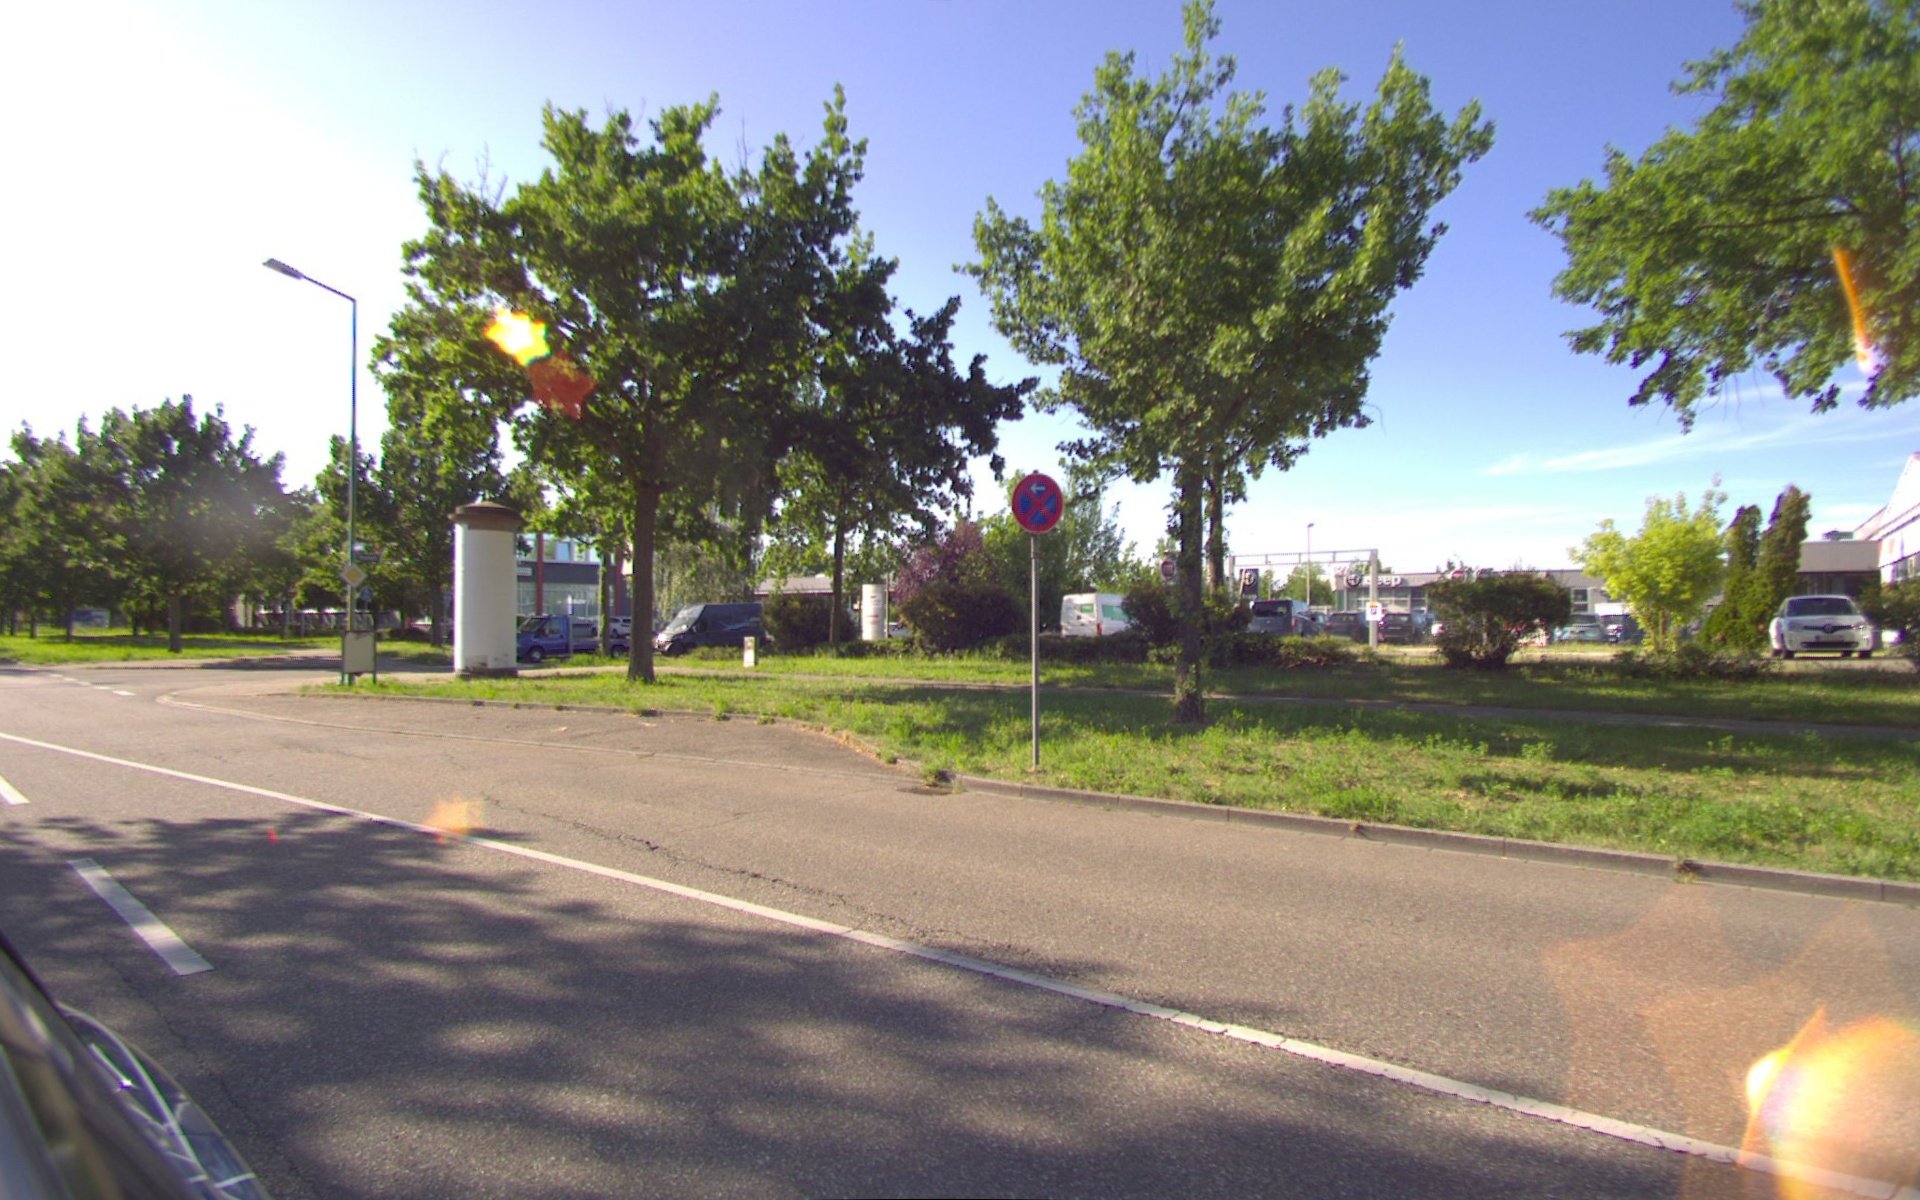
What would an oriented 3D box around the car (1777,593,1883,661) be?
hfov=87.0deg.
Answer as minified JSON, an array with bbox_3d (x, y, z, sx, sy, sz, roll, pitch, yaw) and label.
[{"bbox_3d":[21.092,0.630,24.655,1.589,1.509,3.565,0,-1,35],"label":"car"}]

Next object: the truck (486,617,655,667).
[{"bbox_3d":[-17.413,1.858,45.714,2.137,2.065,7.045,0,-2,37],"label":"truck"}]

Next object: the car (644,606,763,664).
[{"bbox_3d":[-13.029,1.721,51.792,2.297,2.723,5.809,0,0,36],"label":"car"}]

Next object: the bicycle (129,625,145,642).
[{"bbox_3d":[-59.236,2.409,72.836,2.334,1.170,0.545,0,0,43],"label":"bicycle"}]

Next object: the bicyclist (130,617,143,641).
[{"bbox_3d":[-59.292,2.079,72.876,0.659,1.641,0.657,0,0,42],"label":"bicyclist"}]

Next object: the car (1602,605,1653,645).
[{"bbox_3d":[35.233,1.314,53.400,1.882,2.029,3.948,-1,-2,38],"label":"car"}]

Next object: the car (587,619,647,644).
[{"bbox_3d":[-23.631,2.129,69.628,4.295,1.505,1.974,2,1,40],"label":"car"}]

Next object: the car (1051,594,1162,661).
[{"bbox_3d":[6.594,1.130,44.896,2.297,2.723,6.104,0,0,36],"label":"car"}]

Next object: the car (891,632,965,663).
[{"bbox_3d":[-1.746,2.633,56.641,1.757,1.607,4.243,1,-1,38],"label":"car"}]

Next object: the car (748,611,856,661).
[{"bbox_3d":[-8.924,1.976,57.775,2.297,2.535,6.281,0,0,36],"label":"car"}]

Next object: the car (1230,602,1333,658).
[{"bbox_3d":[12.863,1.162,40.232,2.297,2.085,5.360,-1,-2,36],"label":"car"}]
